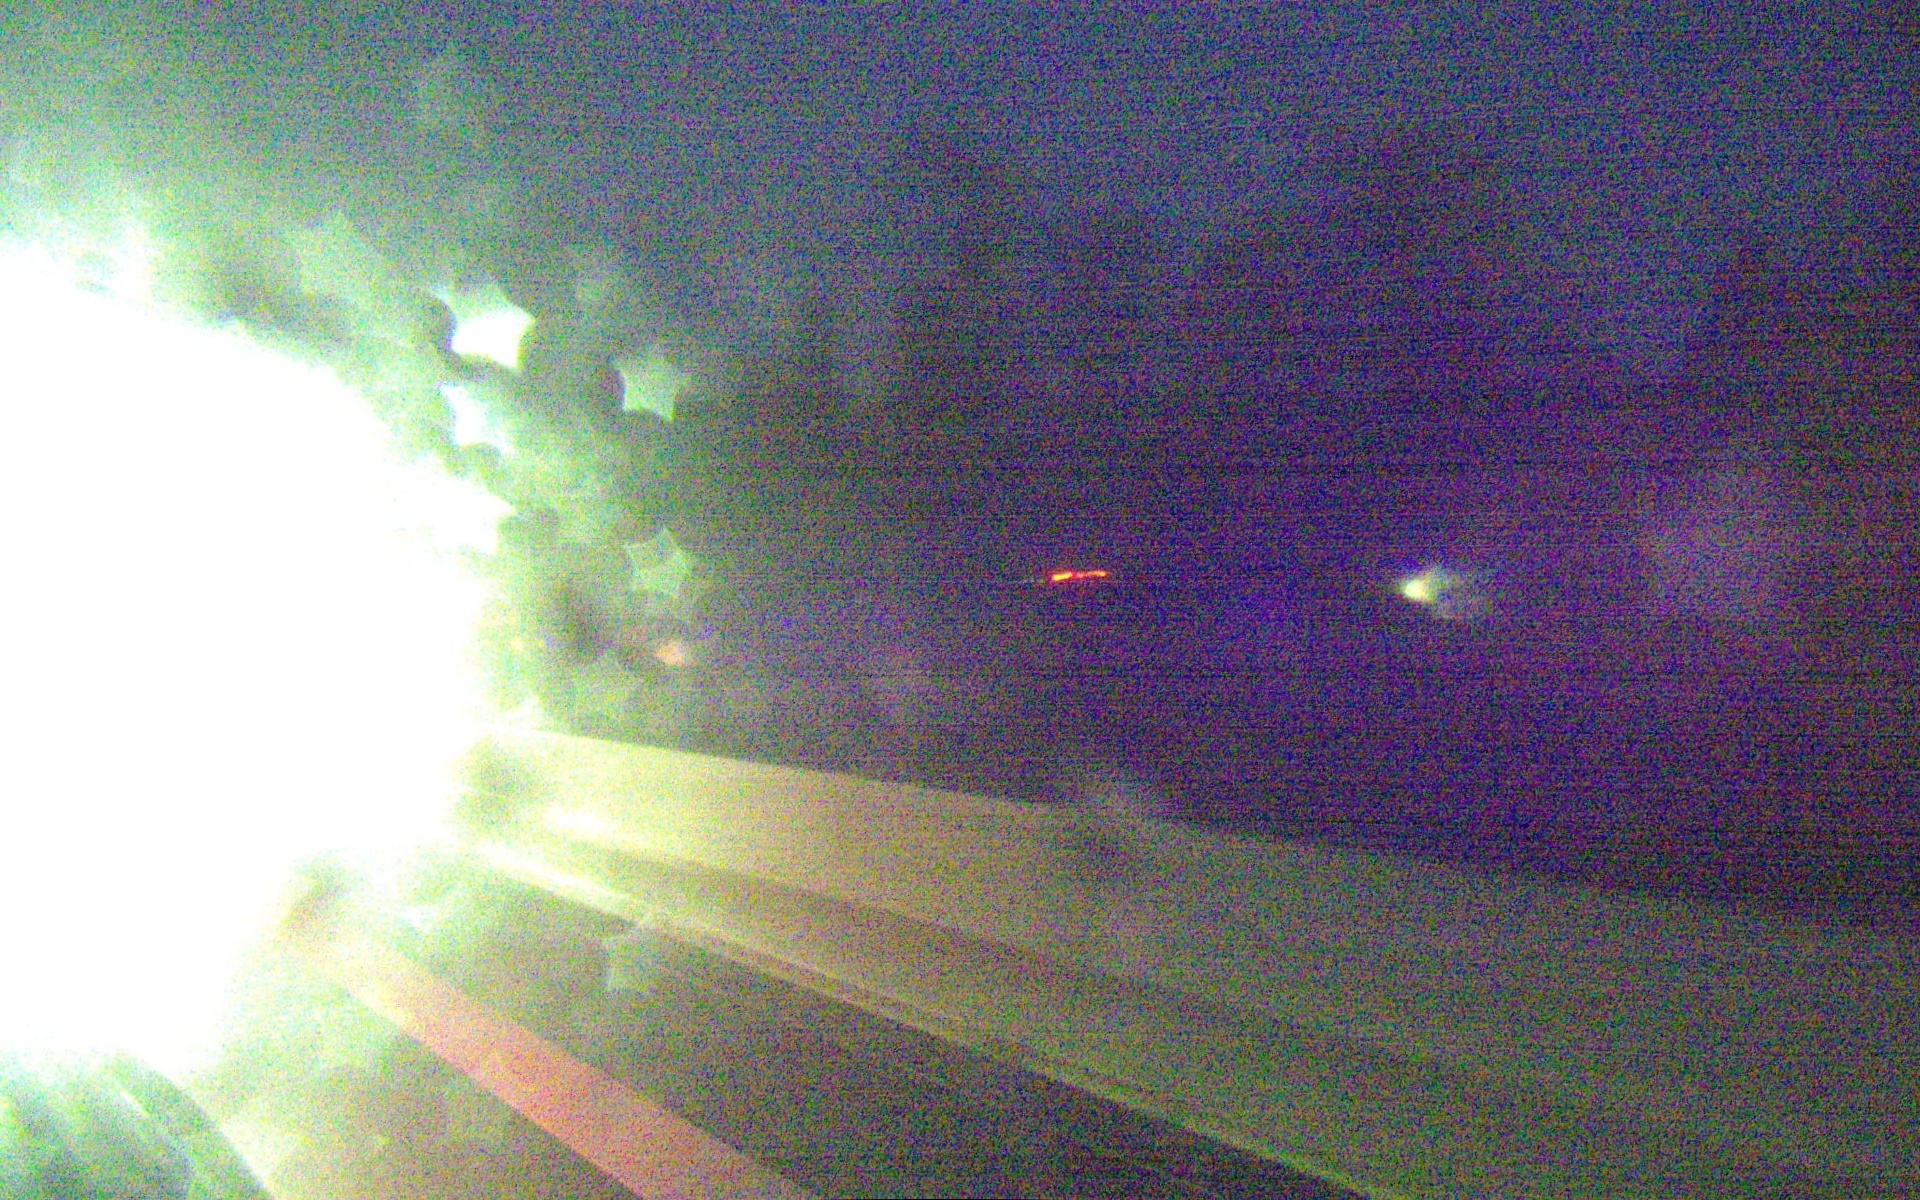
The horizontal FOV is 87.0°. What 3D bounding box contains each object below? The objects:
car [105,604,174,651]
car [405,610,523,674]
[{"bbox_3d":[-38.691,1.295,47.688,4.001,2.028,1.972,-2,1,44],"label":"car"},{"bbox_3d":[-15.489,1.287,31.515,4.001,1.748,1.972,-2,1,44],"label":"car"}]
